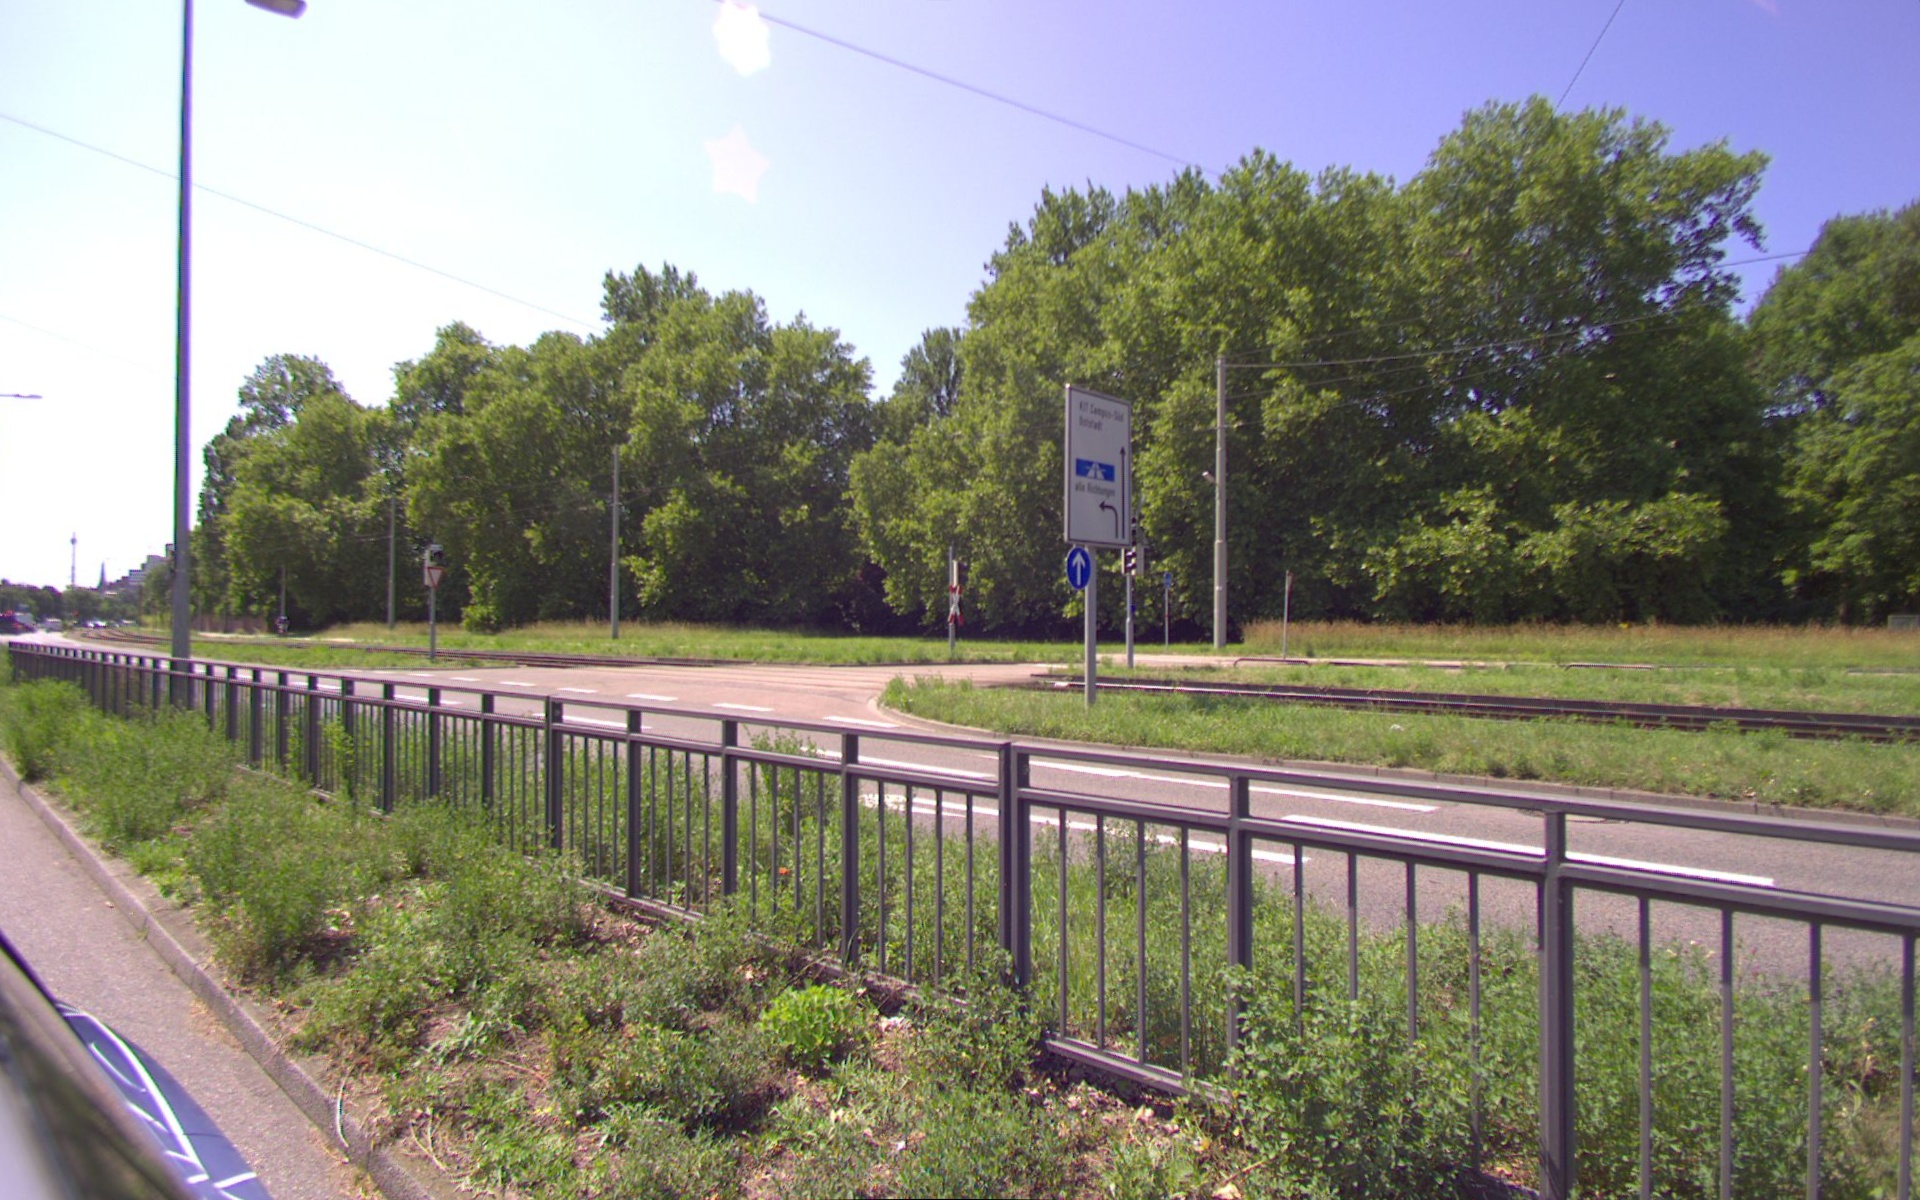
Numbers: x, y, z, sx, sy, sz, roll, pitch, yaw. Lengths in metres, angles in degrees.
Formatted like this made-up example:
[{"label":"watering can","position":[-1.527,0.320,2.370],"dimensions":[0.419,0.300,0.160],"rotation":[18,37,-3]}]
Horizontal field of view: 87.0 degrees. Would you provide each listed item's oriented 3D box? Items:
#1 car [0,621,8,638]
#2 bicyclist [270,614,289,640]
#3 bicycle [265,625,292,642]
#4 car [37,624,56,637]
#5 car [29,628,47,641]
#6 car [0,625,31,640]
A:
[{"label":"car","position":[-107.898,3.285,113.277],"dimensions":[1.970,1.871,4.004],"rotation":[1,-2,-43]},{"label":"bicyclist","position":[-47.728,1.864,70.954],"dimensions":[1.117,1.820,0.851],"rotation":[-1,-2,41]},{"label":"bicycle","position":[-47.782,2.347,70.959],"dimensions":[2.785,1.171,0.851],"rotation":[-1,-2,41]},{"label":"car","position":[-136.801,4.506,151.585],"dimensions":[1.970,1.871,4.003],"rotation":[1,-2,-44]},{"label":"car","position":[-141.803,5.295,155.620],"dimensions":[1.970,1.871,4.003],"rotation":[1,-2,-44]},{"label":"car","position":[-159.390,5.458,168.608],"dimensions":[3.155,2.413,6.642],"rotation":[0,-1,-1]}]
